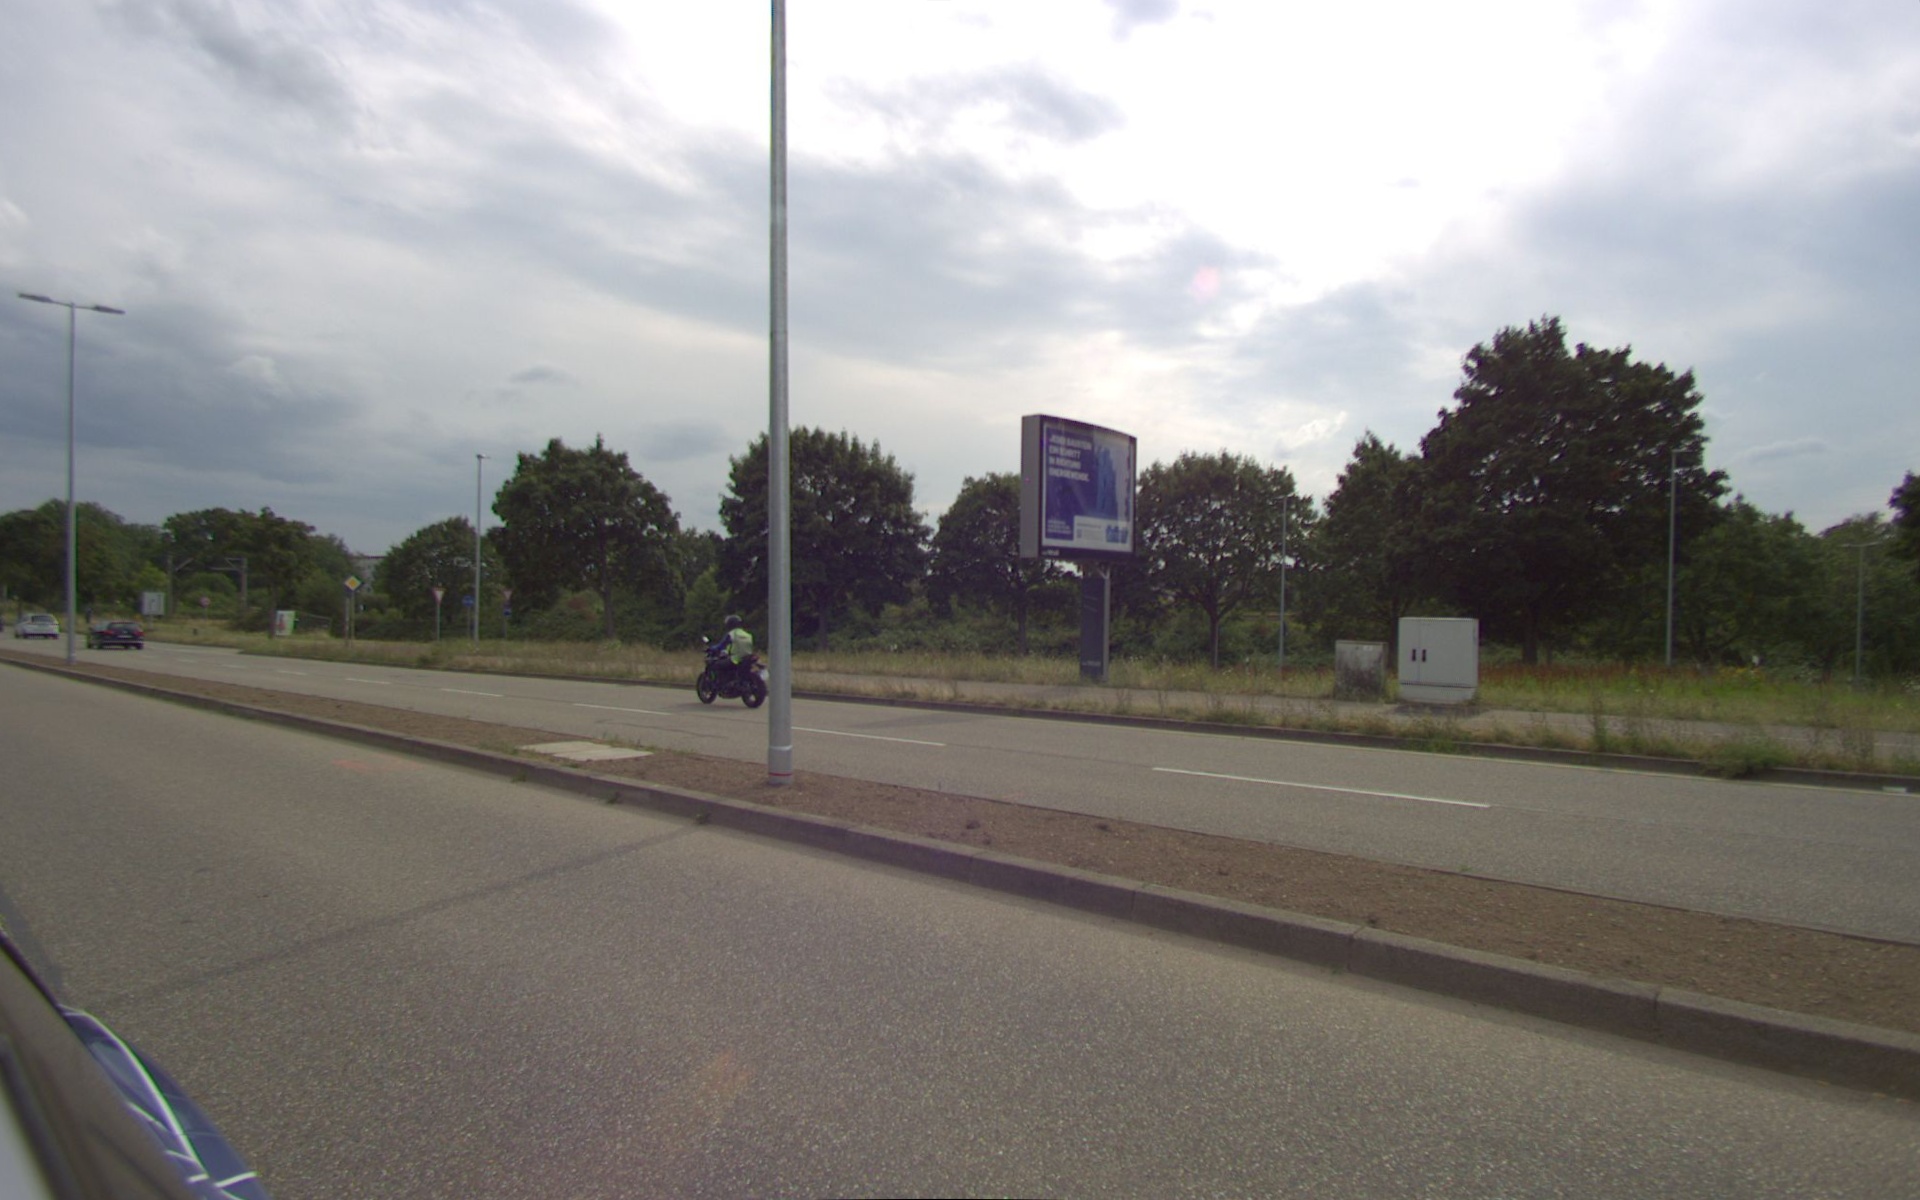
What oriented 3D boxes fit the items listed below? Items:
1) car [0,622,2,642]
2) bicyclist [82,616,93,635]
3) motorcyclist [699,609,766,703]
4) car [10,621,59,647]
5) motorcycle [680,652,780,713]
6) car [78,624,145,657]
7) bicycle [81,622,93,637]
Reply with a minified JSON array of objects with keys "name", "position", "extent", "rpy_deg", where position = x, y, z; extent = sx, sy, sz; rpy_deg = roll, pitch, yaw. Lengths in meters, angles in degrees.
[{"name":"car","position":[-80.553,2.614,83.379],"extent":[4.560,1.666,1.828],"rpy_deg":[-1,-2,40]},{"name":"bicyclist","position":[-88.028,2.583,102.083],"extent":[0.818,1.846,0.637],"rpy_deg":[-1,-2,40]},{"name":"motorcyclist","position":[-4.002,0.970,17.817],"extent":[0.896,1.600,0.762],"rpy_deg":[-2,-3,41]},{"name":"car","position":[-62.375,2.253,68.177],"extent":[4.634,1.666,1.750],"rpy_deg":[-1,-3,40]},{"name":"motorcycle","position":[-4.093,1.424,17.899],"extent":[2.218,0.974,0.517],"rpy_deg":[-1,-2,41]},{"name":"car","position":[-43.029,2.019,51.288],"extent":[4.737,1.544,1.750],"rpy_deg":[-1,-2,40]},{"name":"bicycle","position":[-88.031,2.974,102.038],"extent":[2.165,1.433,0.530],"rpy_deg":[-1,-3,40]}]
